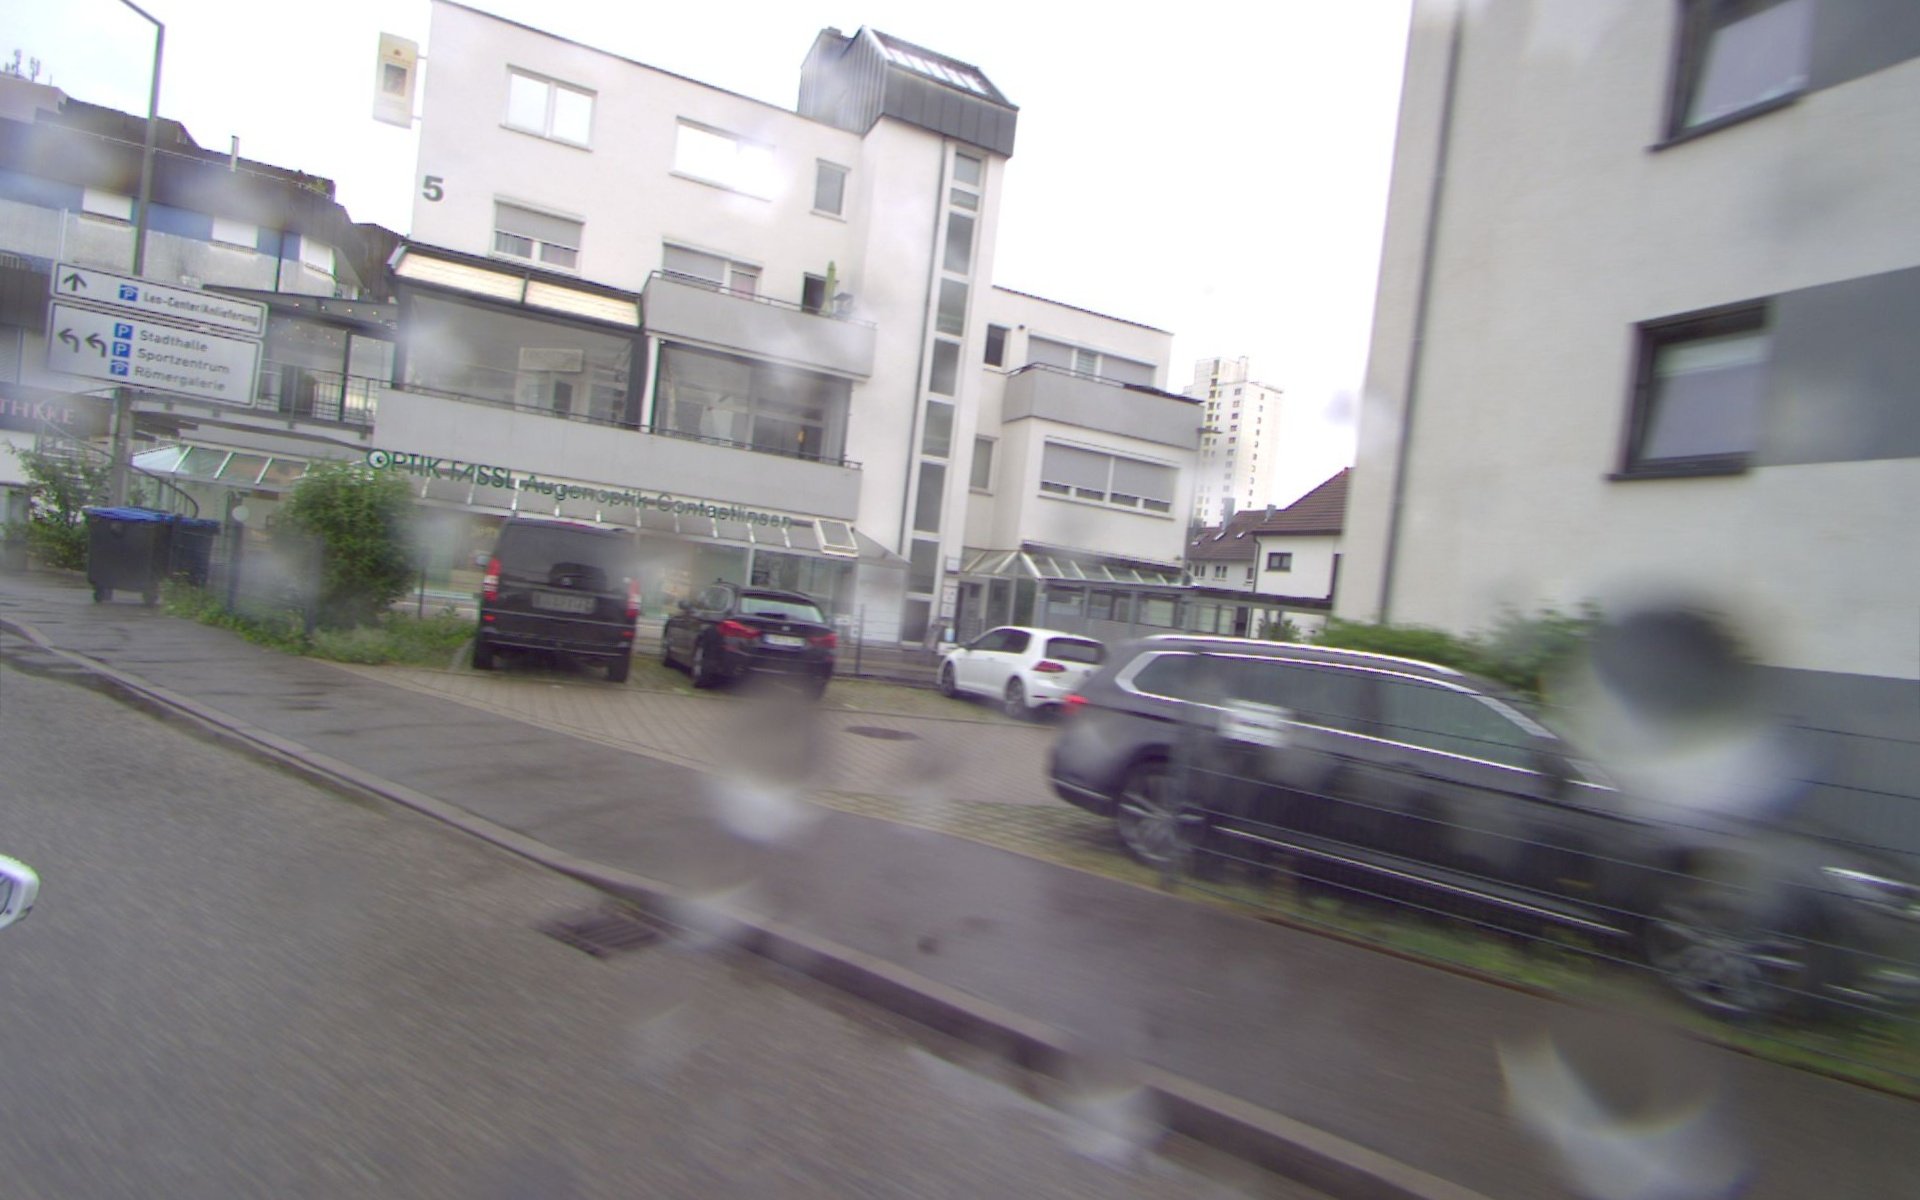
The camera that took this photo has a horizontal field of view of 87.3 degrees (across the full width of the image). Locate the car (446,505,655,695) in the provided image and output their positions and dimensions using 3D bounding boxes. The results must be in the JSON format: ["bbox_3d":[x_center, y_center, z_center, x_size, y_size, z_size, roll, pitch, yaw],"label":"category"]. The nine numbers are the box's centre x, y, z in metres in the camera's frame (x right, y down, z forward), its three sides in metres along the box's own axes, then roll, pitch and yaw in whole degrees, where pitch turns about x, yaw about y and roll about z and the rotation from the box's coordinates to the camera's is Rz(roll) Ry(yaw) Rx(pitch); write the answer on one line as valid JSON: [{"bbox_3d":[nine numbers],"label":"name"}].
[{"bbox_3d":[-5.830,-0.096,13.905,1.977,2.039,4.743,6,1,-29],"label":"car"}]

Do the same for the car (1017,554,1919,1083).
[{"bbox_3d":[2.897,0.900,5.986,4.617,1.808,1.993,7,1,35],"label":"car"}]
